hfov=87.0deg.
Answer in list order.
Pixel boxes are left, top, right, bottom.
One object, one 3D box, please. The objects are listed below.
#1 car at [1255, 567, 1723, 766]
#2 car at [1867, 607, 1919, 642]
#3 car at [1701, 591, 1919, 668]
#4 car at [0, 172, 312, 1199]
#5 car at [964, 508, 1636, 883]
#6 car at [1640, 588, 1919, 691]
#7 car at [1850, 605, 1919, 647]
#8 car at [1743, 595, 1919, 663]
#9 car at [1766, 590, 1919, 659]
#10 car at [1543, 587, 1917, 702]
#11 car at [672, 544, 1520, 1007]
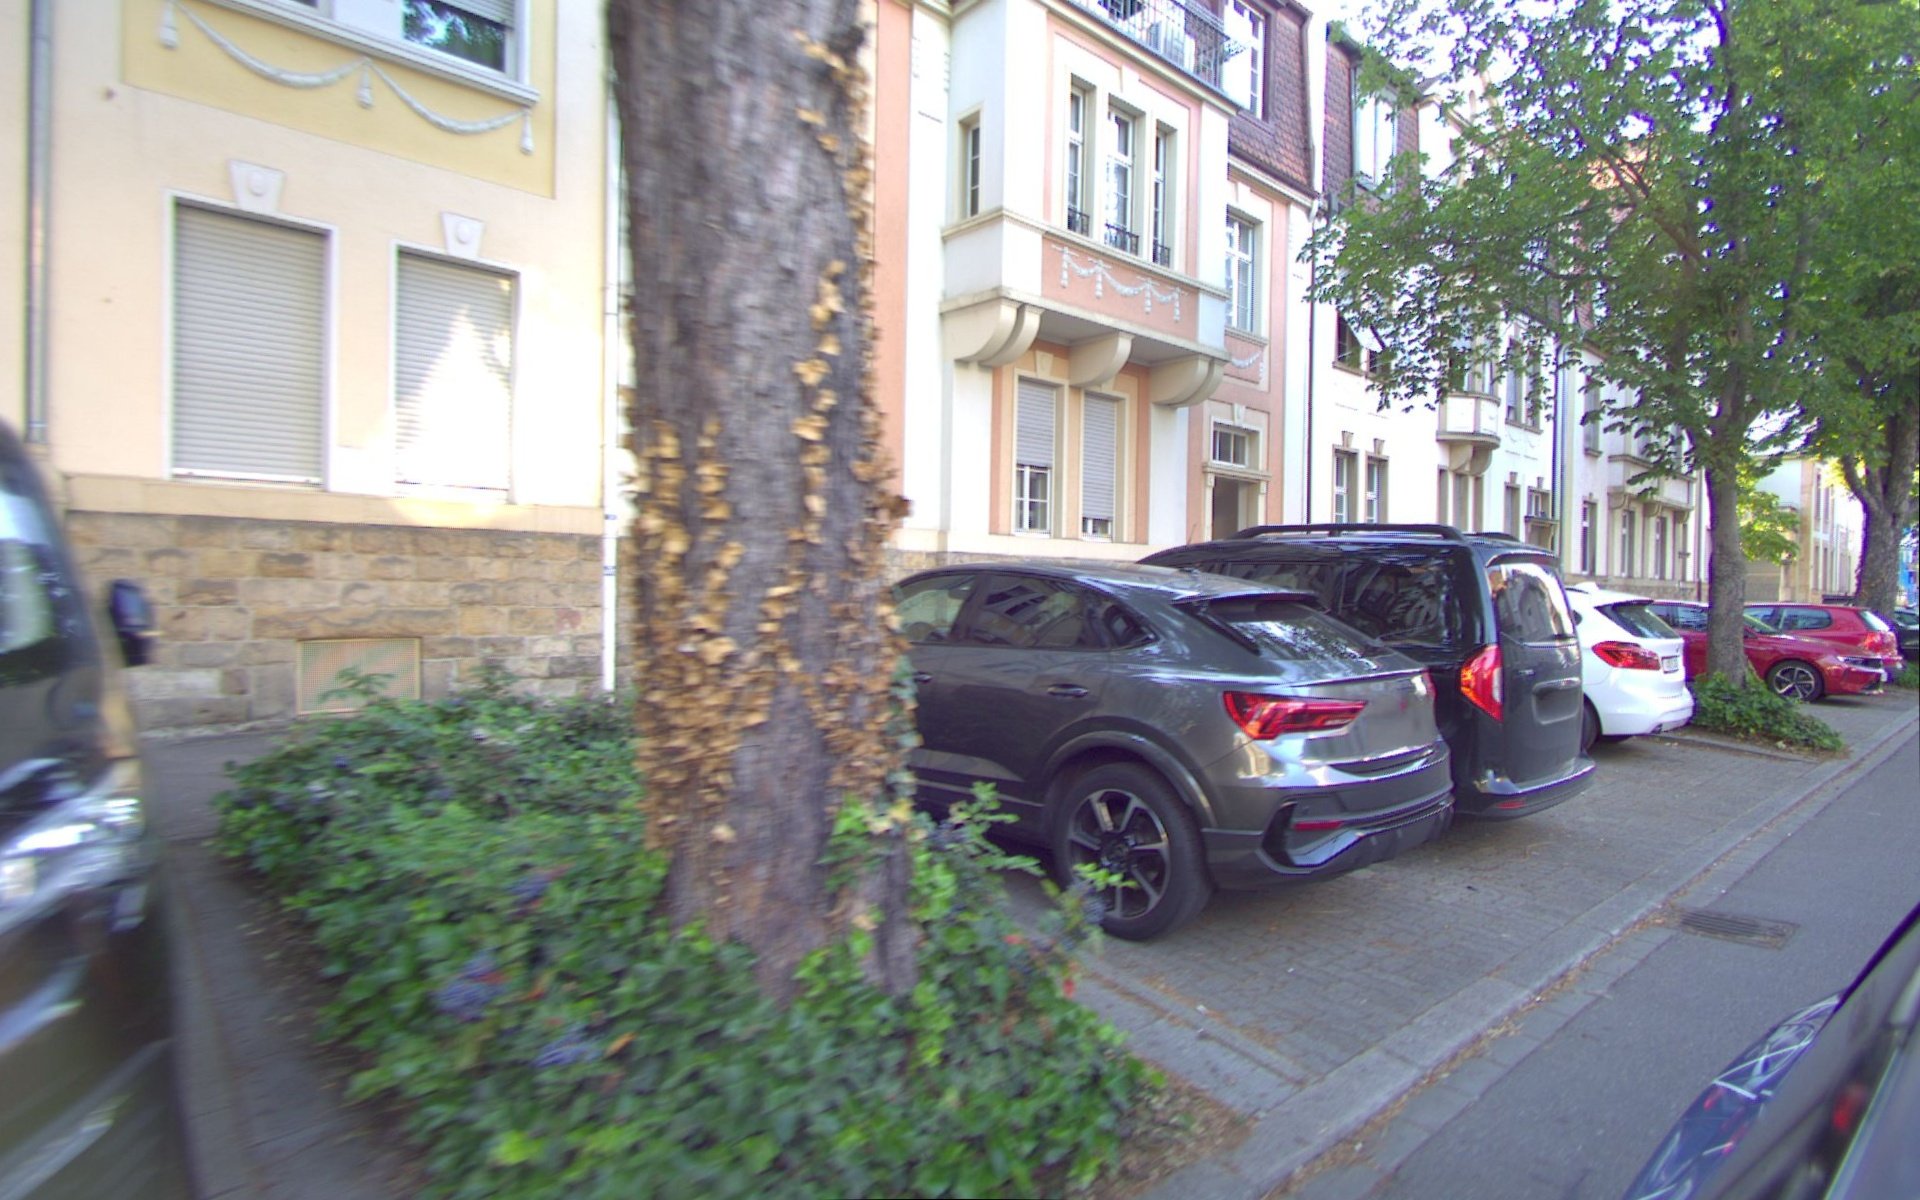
[{"bbox_3d":[5.279,0.511,10.510,1.689,1.597,3.947,0,2,-41],"label":"car"},{"bbox_3d":[31.714,0.843,32.705,1.515,1.076,3.399,0,2,-39],"label":"car"},{"bbox_3d":[19.357,0.612,23.065,1.548,1.484,3.680,0,2,-39],"label":"car"},{"bbox_3d":[-3.250,0.347,2.459,1.867,1.897,4.753,0,2,-45],"label":"car"},{"bbox_3d":[2.100,0.388,7.152,1.814,1.860,4.116,0,2,-43],"label":"car"},{"bbox_3d":[14.434,0.600,17.876,1.628,1.499,3.681,0,2,-38],"label":"car"},{"bbox_3d":[29.348,0.814,30.626,1.515,1.164,3.399,0,2,-39],"label":"car"},{"bbox_3d":[21.449,0.659,24.475,1.548,1.416,3.680,0,2,-39],"label":"car"},{"bbox_3d":[23.354,0.594,26.151,1.548,1.577,3.680,0,2,-39],"label":"car"},{"bbox_3d":[12.339,0.606,16.510,1.833,1.470,4.532,0,2,-38],"label":"car"},{"bbox_3d":[0.354,0.502,5.651,1.815,1.542,4.512,0,2,-45],"label":"car"}]
